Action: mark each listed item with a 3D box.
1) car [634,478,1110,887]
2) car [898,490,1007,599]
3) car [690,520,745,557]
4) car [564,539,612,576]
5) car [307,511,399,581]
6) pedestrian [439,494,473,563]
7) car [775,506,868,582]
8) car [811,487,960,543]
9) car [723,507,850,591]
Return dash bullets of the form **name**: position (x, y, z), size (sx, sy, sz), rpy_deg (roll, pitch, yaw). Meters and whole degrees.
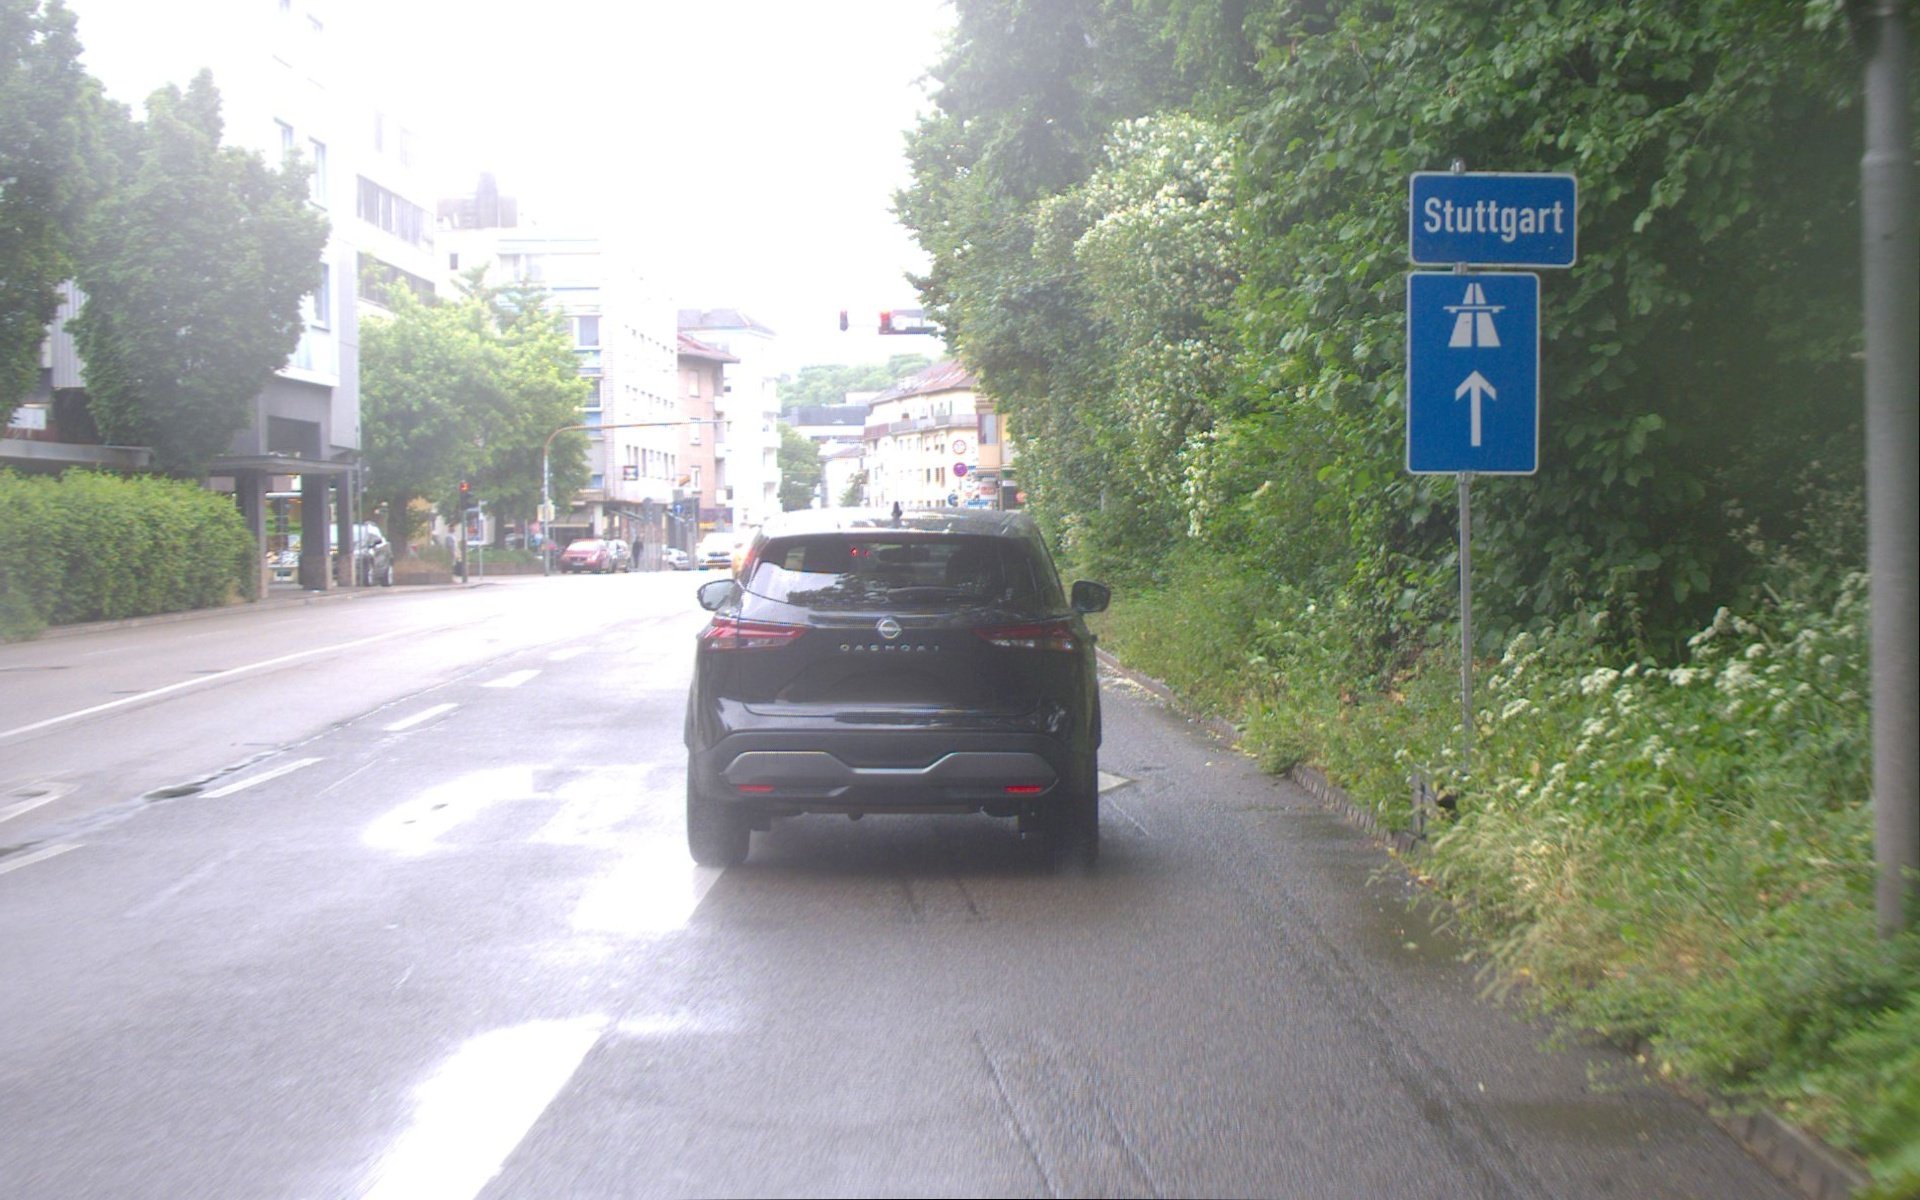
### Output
- **car**: position (-0.407, 0.274, 16.317), size (1.959, 1.647, 4.001), rpy_deg (-1, 2, -1)
- **car**: position (-0.132, -1.084, 66.176), size (1.993, 2.007, 4.000), rpy_deg (-1, 1, 0)
- **car**: position (-9.965, -2.543, 140.792), size (1.993, 1.448, 4.001), rpy_deg (-1, 2, -7)
- **car**: position (-15.600, -1.795, 144.105), size (1.672, 1.473, 3.608), rpy_deg (-2, 1, -2)
- **car**: position (-15.182, -1.356, 86.094), size (1.539, 1.700, 4.287), rpy_deg (0, 1, 0)
- **pedestrian**: position (-14.812, -2.108, 101.091), size (0.940, 2.007, 0.887), rpy_deg (-1, 1, -9)
- **car**: position (-2.823, -1.159, 70.561), size (1.744, 1.482, 4.162), rpy_deg (-1, 1, 0)
- **car**: position (-2.411, -2.780, 112.355), size (4.795, 1.744, 1.999), rpy_deg (-2, 2, -45)
- **car**: position (-3.155, -0.970, 63.241), size (2.066, 1.459, 4.587), rpy_deg (-1, 2, 0)
